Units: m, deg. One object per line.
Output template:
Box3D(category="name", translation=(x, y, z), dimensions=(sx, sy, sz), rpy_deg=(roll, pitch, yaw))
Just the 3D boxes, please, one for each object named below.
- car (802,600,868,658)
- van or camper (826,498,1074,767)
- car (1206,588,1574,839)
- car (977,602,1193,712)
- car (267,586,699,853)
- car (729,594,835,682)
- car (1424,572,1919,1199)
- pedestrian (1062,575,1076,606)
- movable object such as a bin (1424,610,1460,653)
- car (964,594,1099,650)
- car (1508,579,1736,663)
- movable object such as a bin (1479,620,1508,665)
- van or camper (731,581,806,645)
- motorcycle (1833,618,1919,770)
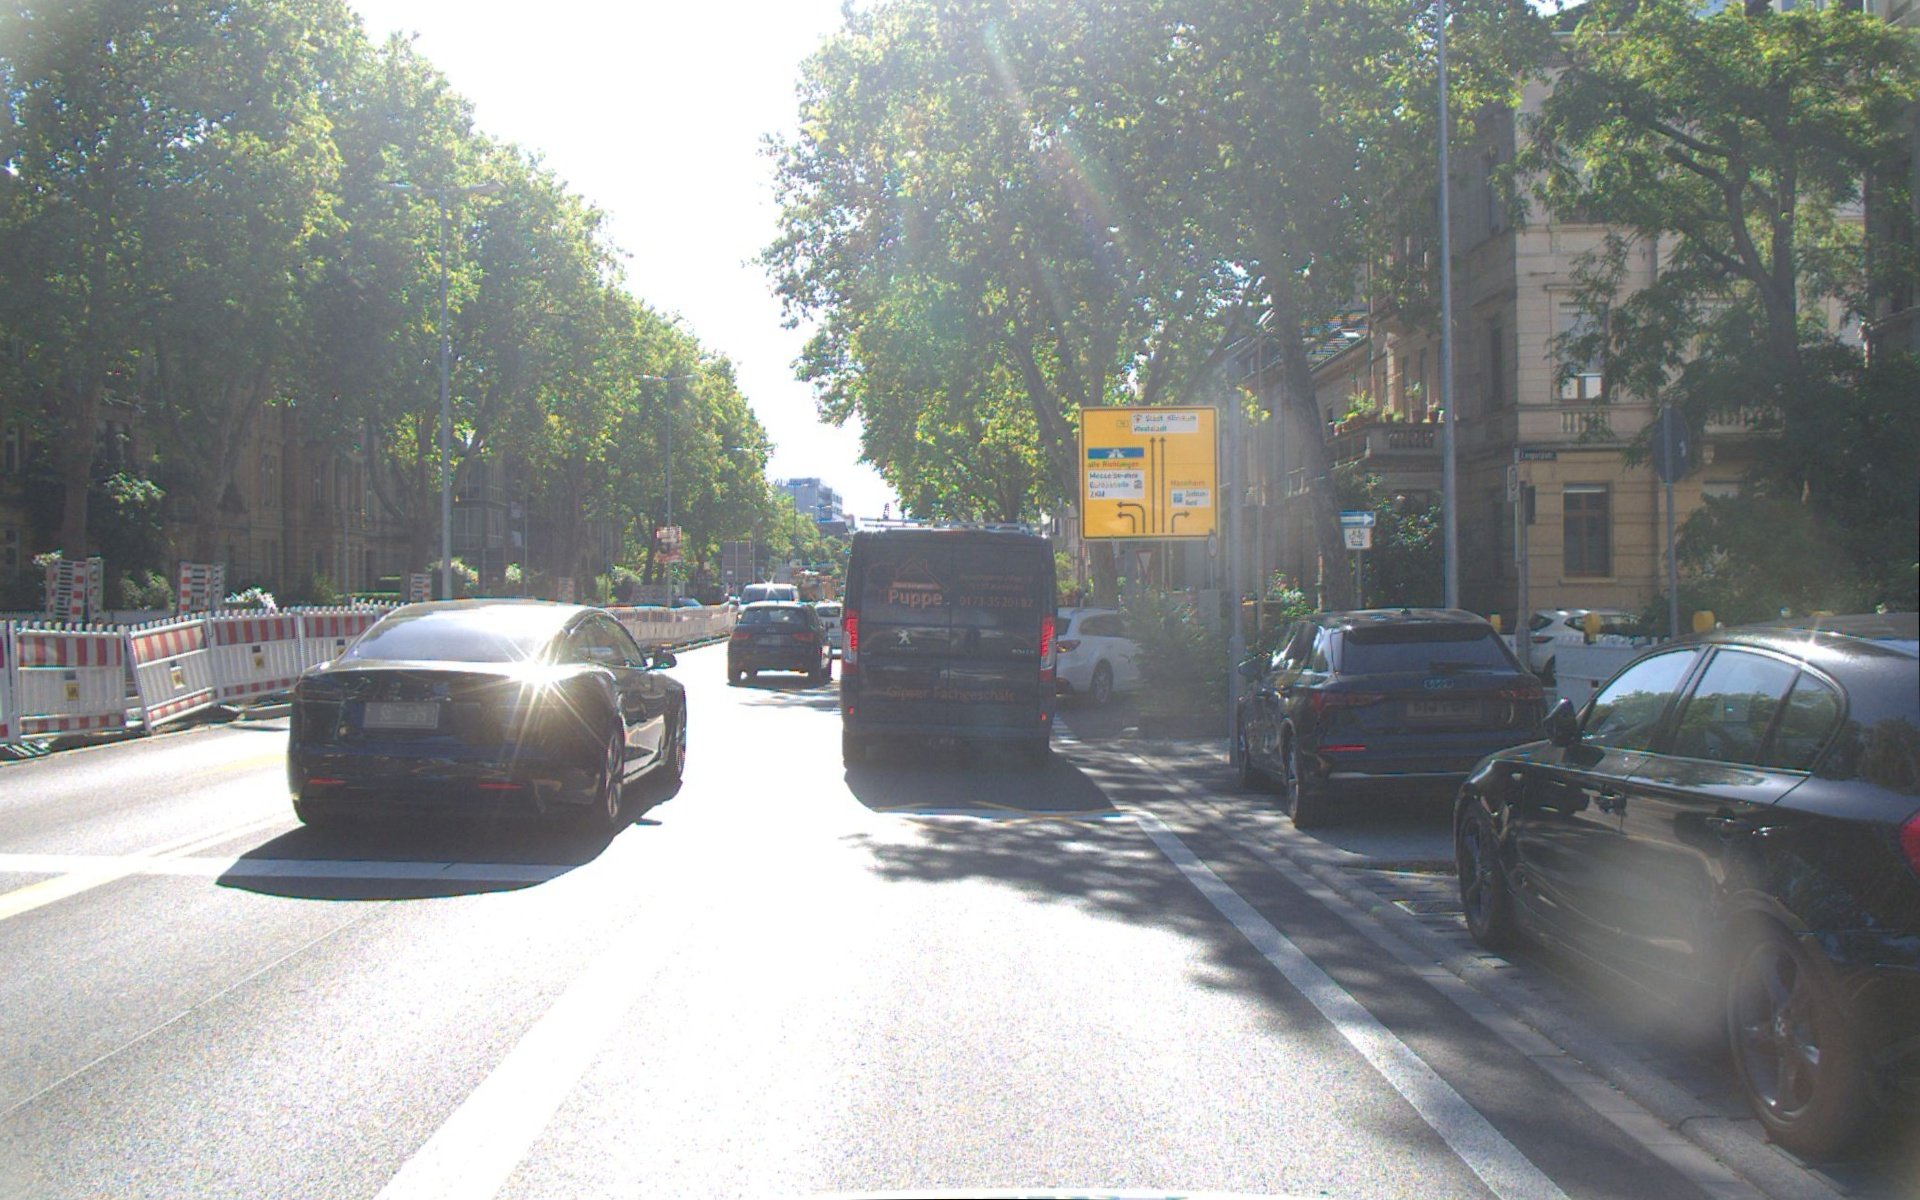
Box3D(category="car", translation=(-3.411, 0.757, 45.593), dimensions=(1.587, 1.512, 3.733), rpy_deg=(1, 0, -1))
Box3D(category="van or camper", translation=(-0.173, 0.296, 16.987), dimensions=(2.200, 2.387, 4.535), rpy_deg=(0, 0, -2))
Box3D(category="car", translation=(3.000, 0.709, 12.417), dimensions=(1.587, 1.512, 4.096), rpy_deg=(-2, 0, -1))
Box3D(category="car", translation=(2.041, 0.818, 25.834), dimensions=(1.800, 1.512, 4.049), rpy_deg=(0, 1, 30))
Box3D(category="car", translation=(-3.050, 0.678, 11.606), dimensions=(1.800, 1.509, 4.475), rpy_deg=(0, 0, -1))
Box3D(category="car", translation=(-3.230, 0.656, 30.557), dimensions=(1.587, 1.512, 3.733), rpy_deg=(1, 0, -1))
Box3D(category="car", translation=(3.030, 0.675, 5.749), dimensions=(1.587, 1.512, 4.056), rpy_deg=(-2, 0, -1))
Box3D(category="pedestrian", translation=(8.400, -0.728, 127.676), dimensions=(1.036, 2.387, 0.816), rpy_deg=(1, -1, 2))
Box3D(category="movable object such as a bin", translation=(11.082, 0.719, 38.039), dimensions=(0.673, 0.987, 0.548), rpy_deg=(-1, 0, 1))
Box3D(category="car", translation=(2.292, 0.709, 53.081), dimensions=(3.906, 1.596, 1.778), rpy_deg=(2, -1, 22))
Box3D(category="car", translation=(13.294, 0.404, 33.370), dimensions=(3.848, 1.588, 1.873), rpy_deg=(0, 2, 0))
Box3D(category="movable object such as a bin", translation=(11.872, 0.950, 36.811), dimensions=(0.508, 0.987, 0.398), rpy_deg=(-1, 0, 1))
Box3D(category="van or camper", translation=(-6.405, 0.428, 55.890), dimensions=(1.953, 2.049, 5.327), rpy_deg=(-1, 0, -1))
Box3D(category="motorcycle", translation=(8.070, 0.767, 14.073), dimensions=(0.584, 1.207, 1.556), rpy_deg=(0, 0, 6))
